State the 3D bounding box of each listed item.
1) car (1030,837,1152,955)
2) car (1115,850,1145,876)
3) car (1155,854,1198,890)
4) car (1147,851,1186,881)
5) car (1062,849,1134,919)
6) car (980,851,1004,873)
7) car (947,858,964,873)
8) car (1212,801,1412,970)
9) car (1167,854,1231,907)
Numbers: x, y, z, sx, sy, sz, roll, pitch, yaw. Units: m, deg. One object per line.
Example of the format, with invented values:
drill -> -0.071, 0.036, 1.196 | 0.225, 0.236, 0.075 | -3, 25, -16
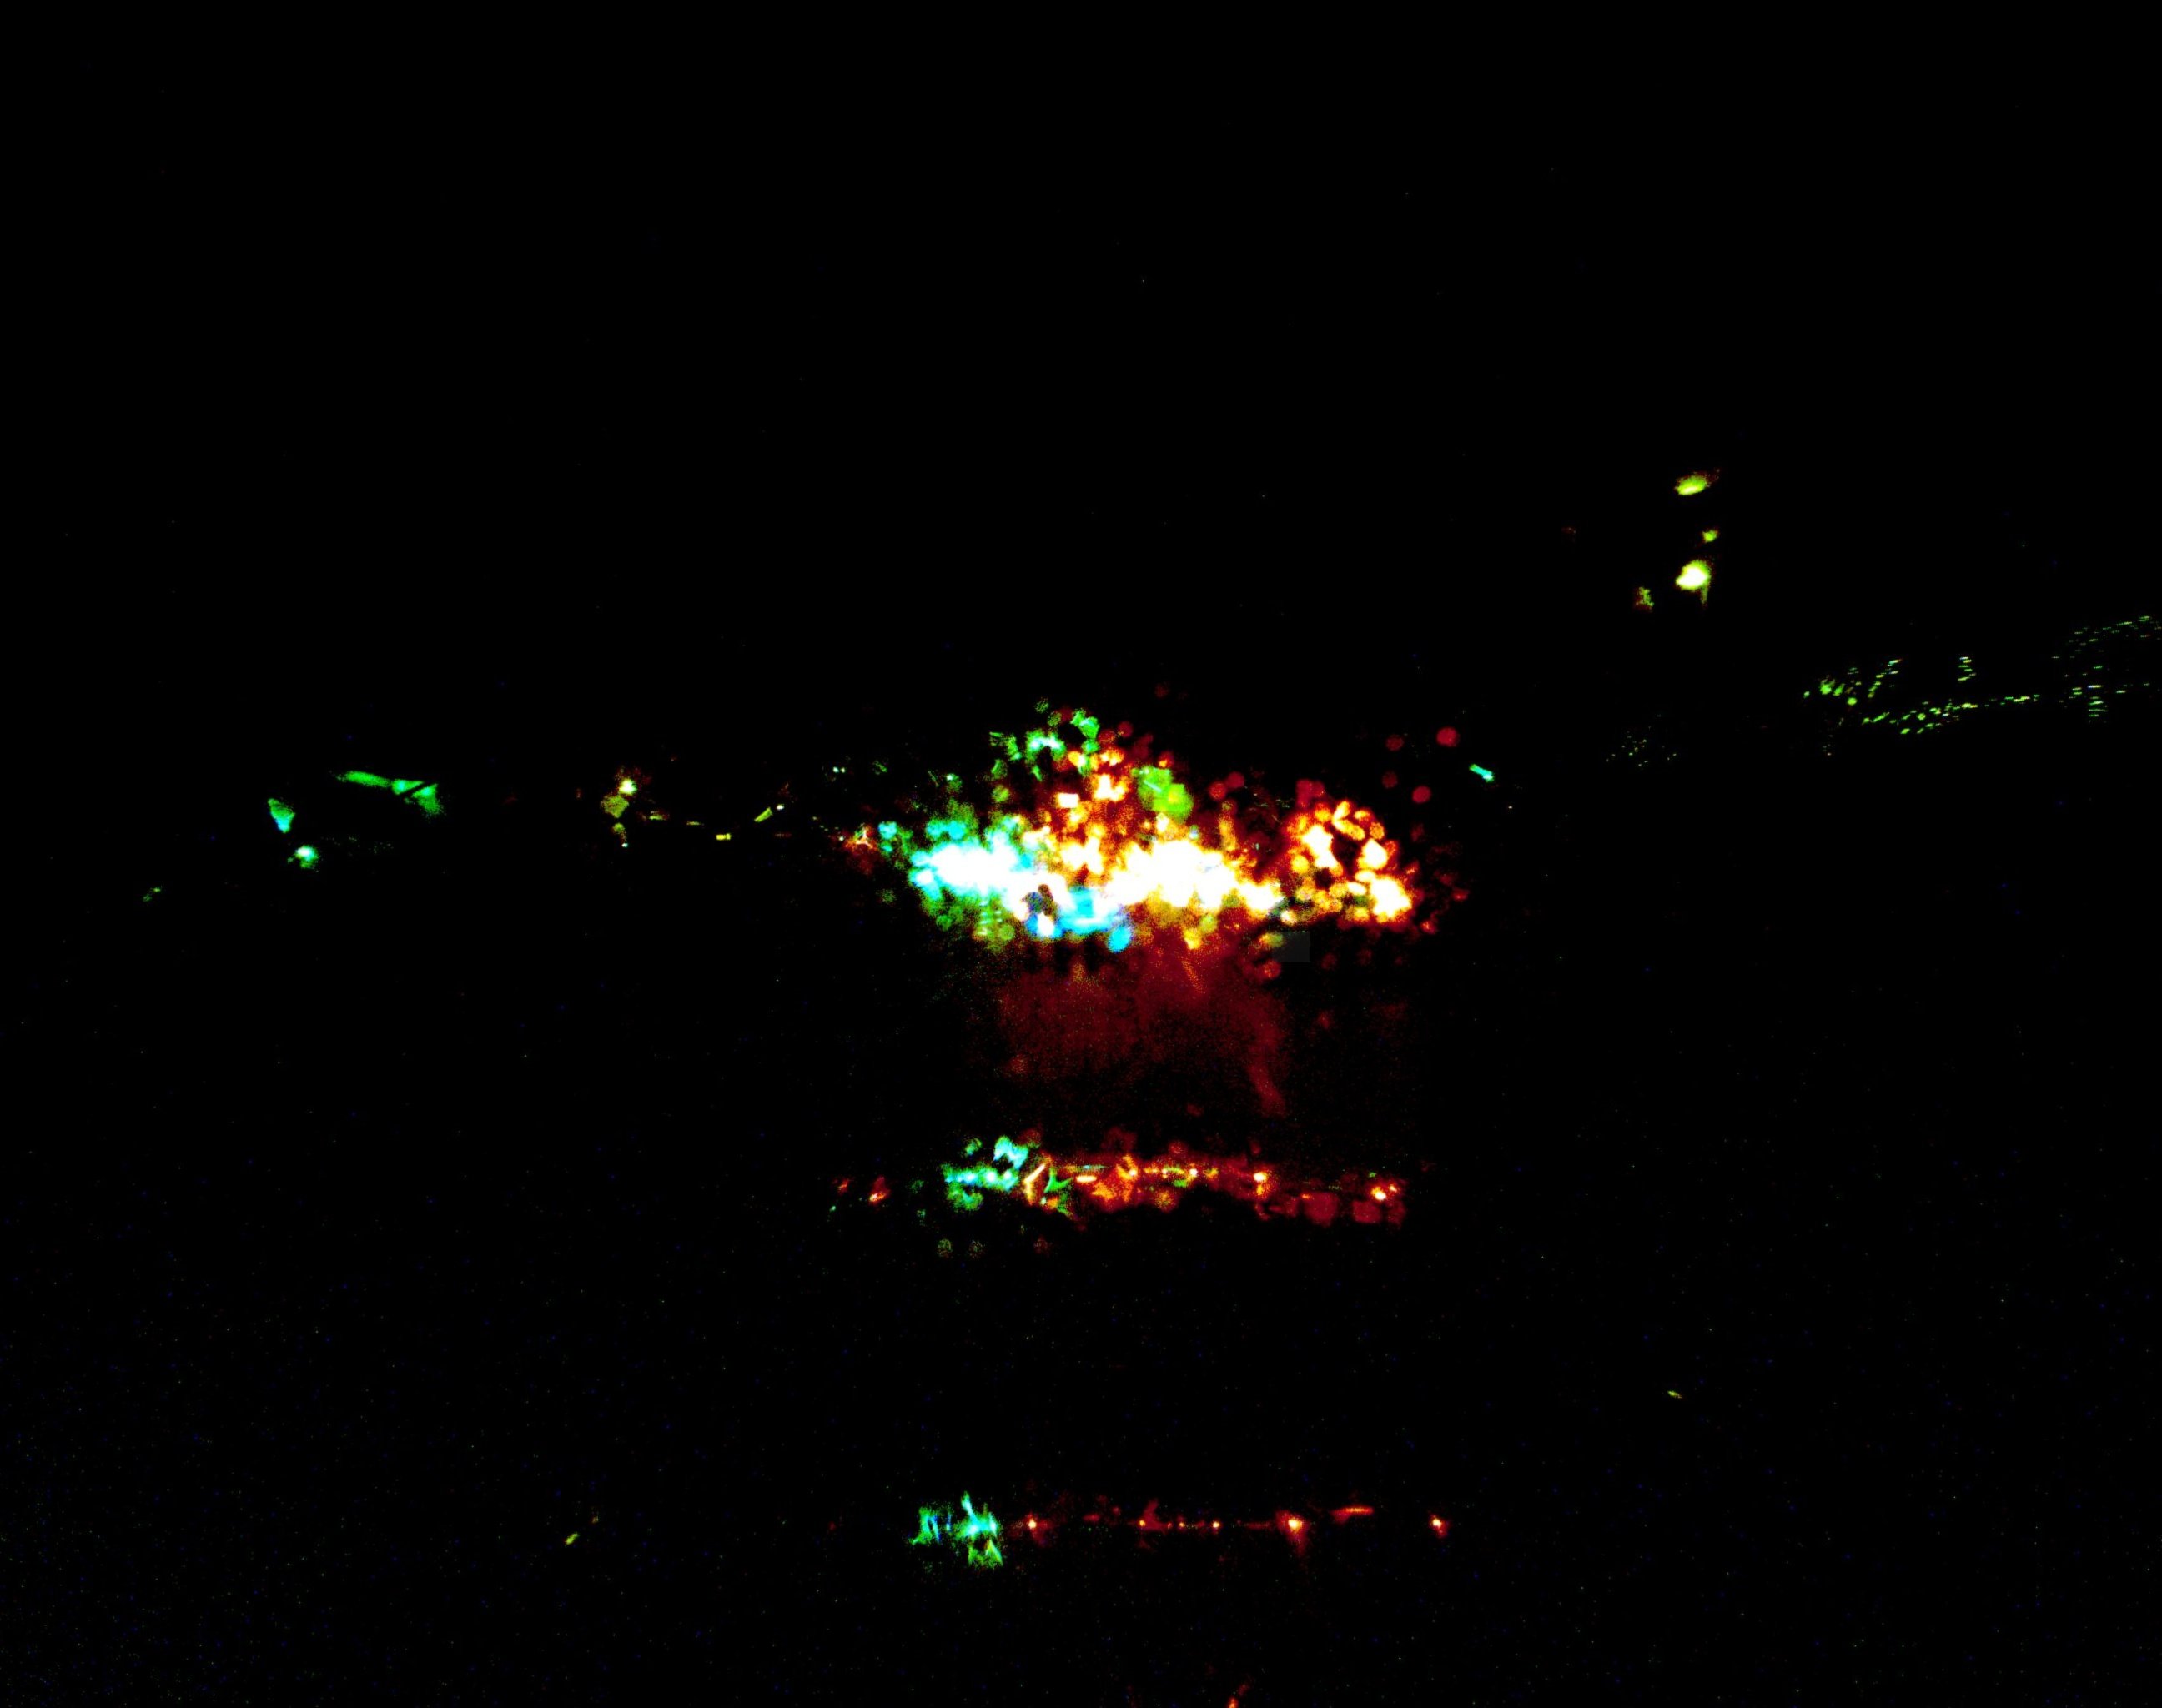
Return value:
car -> 0.207, 0.597, 13.266 | 1.688, 1.630, 3.854 | 0, 0, 2
car -> 2.926, 0.542, 48.949 | 1.657, 1.450, 4.051 | -1, -1, 2
car -> 4.077, 0.741, 35.285 | 1.656, 1.450, 4.054 | -1, 0, 4
car -> 4.330, 0.583, 41.773 | 1.657, 1.450, 4.051 | -1, 0, 2
car -> 0.503, 0.717, 21.817 | 1.702, 1.638, 3.733 | -2, 0, 2
car -> -8.138, 0.717, 74.596 | 1.990, 1.912, 4.735 | -1, 0, -5
car -> -16.195, 1.476, 104.795 | 1.994, 1.892, 4.724 | -1, 0, -11
car -> 3.053, 0.357, 11.699 | 1.934, 1.972, 4.223 | -1, 0, 4
car -> 3.591, 0.746, 25.336 | 1.759, 1.450, 4.225 | -1, 0, 5
